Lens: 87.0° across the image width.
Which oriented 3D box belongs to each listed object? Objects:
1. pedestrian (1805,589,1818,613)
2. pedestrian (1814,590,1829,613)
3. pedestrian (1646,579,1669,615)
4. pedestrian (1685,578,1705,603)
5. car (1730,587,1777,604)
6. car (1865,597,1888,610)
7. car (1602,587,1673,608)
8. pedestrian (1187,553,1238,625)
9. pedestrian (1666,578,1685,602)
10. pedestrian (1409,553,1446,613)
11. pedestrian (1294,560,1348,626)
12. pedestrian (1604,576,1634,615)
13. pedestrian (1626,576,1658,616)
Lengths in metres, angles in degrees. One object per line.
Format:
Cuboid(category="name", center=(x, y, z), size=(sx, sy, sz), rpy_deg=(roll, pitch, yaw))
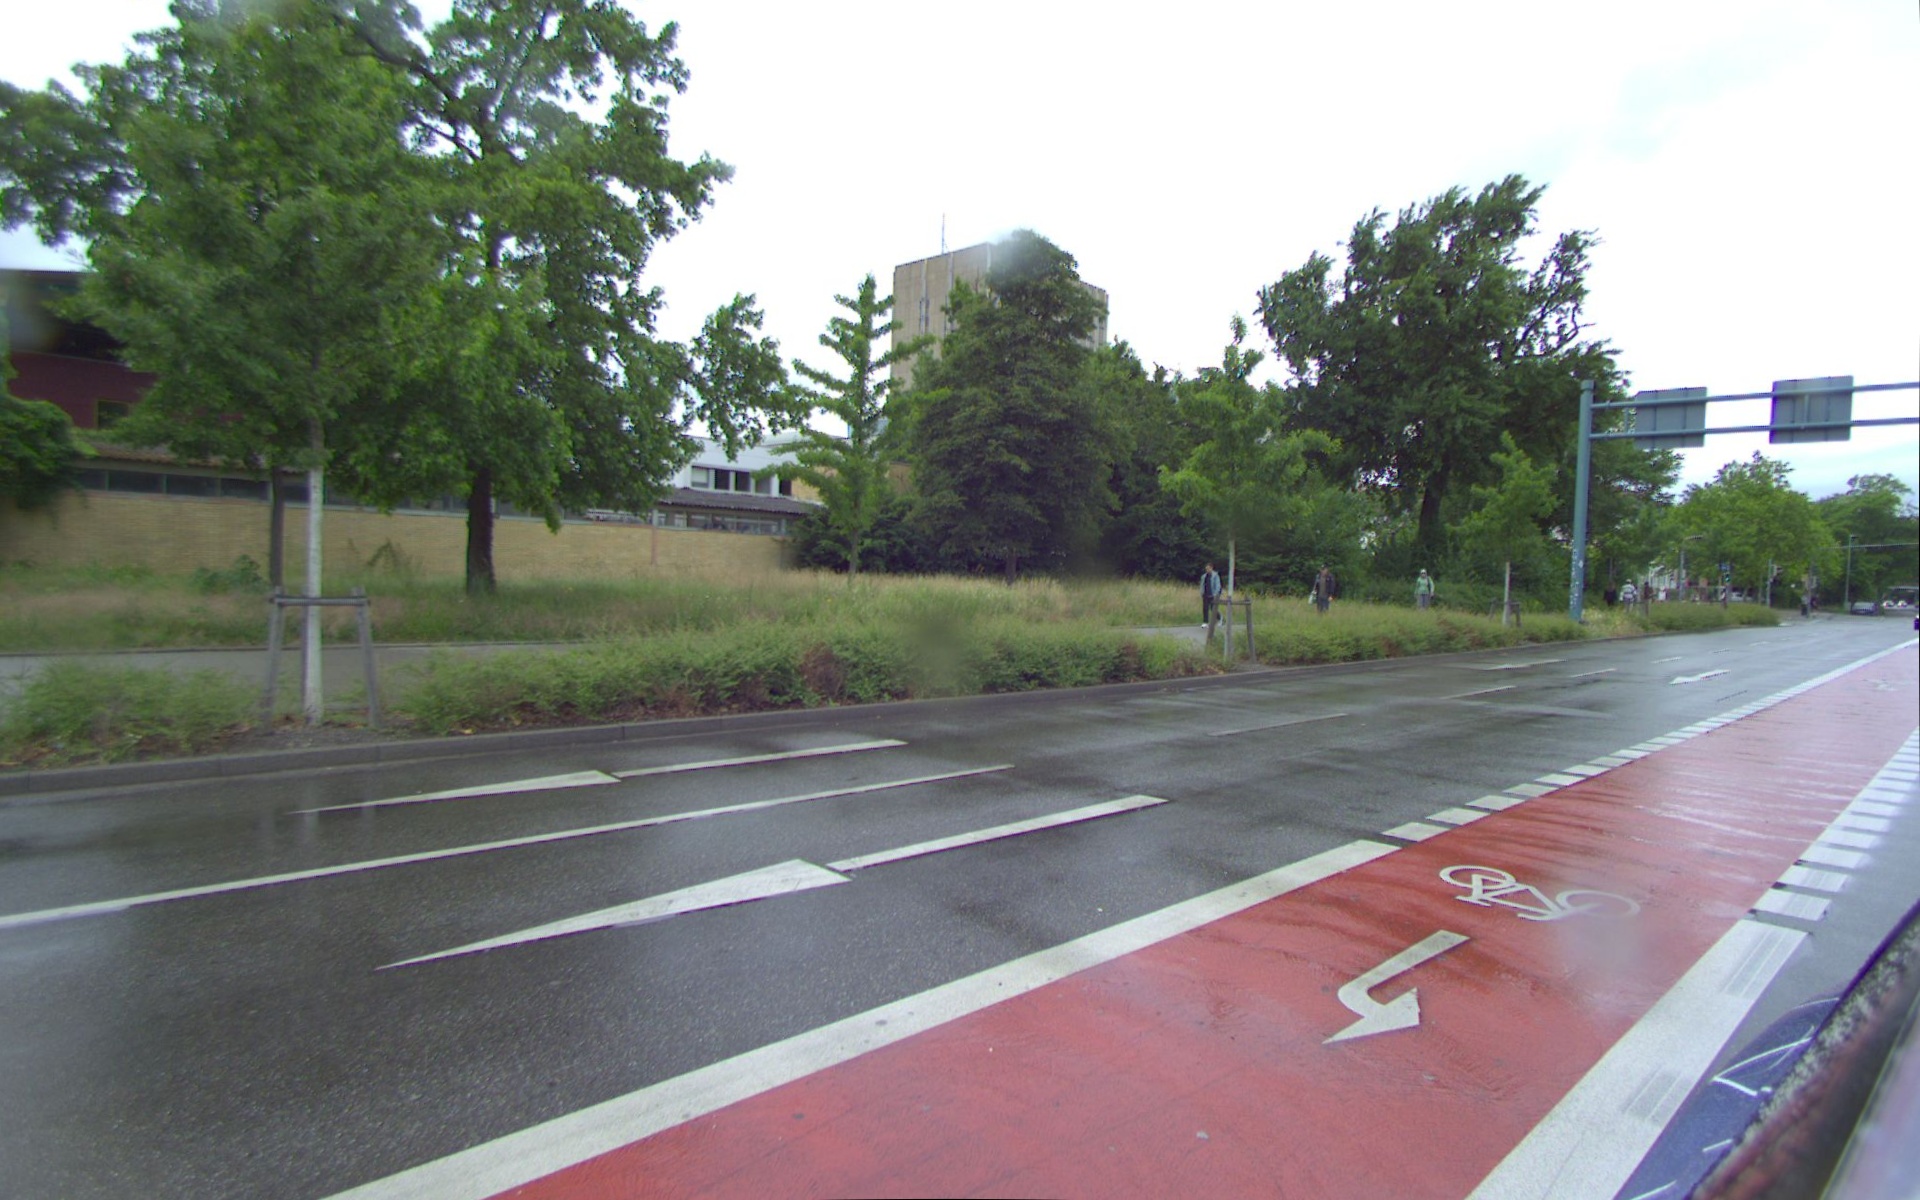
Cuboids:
Cuboid(category="pedestrian", center=(68.454, 0.078, 81.365), size=(0.620, 1.847, 0.778), rpy_deg=(3, 2, 31))
Cuboid(category="pedestrian", center=(69.342, 0.119, 81.485), size=(0.618, 1.847, 0.780), rpy_deg=(3, 1, 24))
Cuboid(category="pedestrian", center=(37.102, -0.169, 53.819), size=(0.835, 1.882, 0.732), rpy_deg=(1, 2, -38))
Cuboid(category="pedestrian", center=(50.652, -0.657, 69.784), size=(0.868, 1.627, 0.857), rpy_deg=(3, 2, 24))
Cuboid(category="car", center=(97.512, -0.597, 124.412), size=(4.405, 1.895, 1.615), rpy_deg=(4, 2, 39))
Cuboid(category="car", center=(96.343, 0.353, 106.330), size=(1.657, 1.282, 4.041), rpy_deg=(4, 2, 44))
Cuboid(category="car", center=(53.152, -0.235, 79.405), size=(4.375, 1.353, 1.746), rpy_deg=(4, 5, 43))
Cuboid(category="pedestrian", center=(6.564, -0.300, 26.349), size=(0.813, 1.819, 0.936), rpy_deg=(1, 2, -37))
Cuboid(category="pedestrian", center=(49.742, -0.718, 70.373), size=(0.867, 1.627, 0.857), rpy_deg=(3, 2, 23))
Cuboid(category="pedestrian", center=(16.278, -0.601, 35.224), size=(0.813, 2.038, 0.793), rpy_deg=(1, 2, -38))
Cuboid(category="pedestrian", center=(9.971, -0.191, 27.927), size=(1.026, 1.769, 0.936), rpy_deg=(1, 2, -38))
Cuboid(category="pedestrian", center=(30.227, -0.208, 46.425), size=(0.814, 1.725, 0.935), rpy_deg=(4, -2, -39))
Cuboid(category="pedestrian", center=(30.664, -0.189, 45.509), size=(0.814, 1.743, 0.935), rpy_deg=(4, -2, -39))
